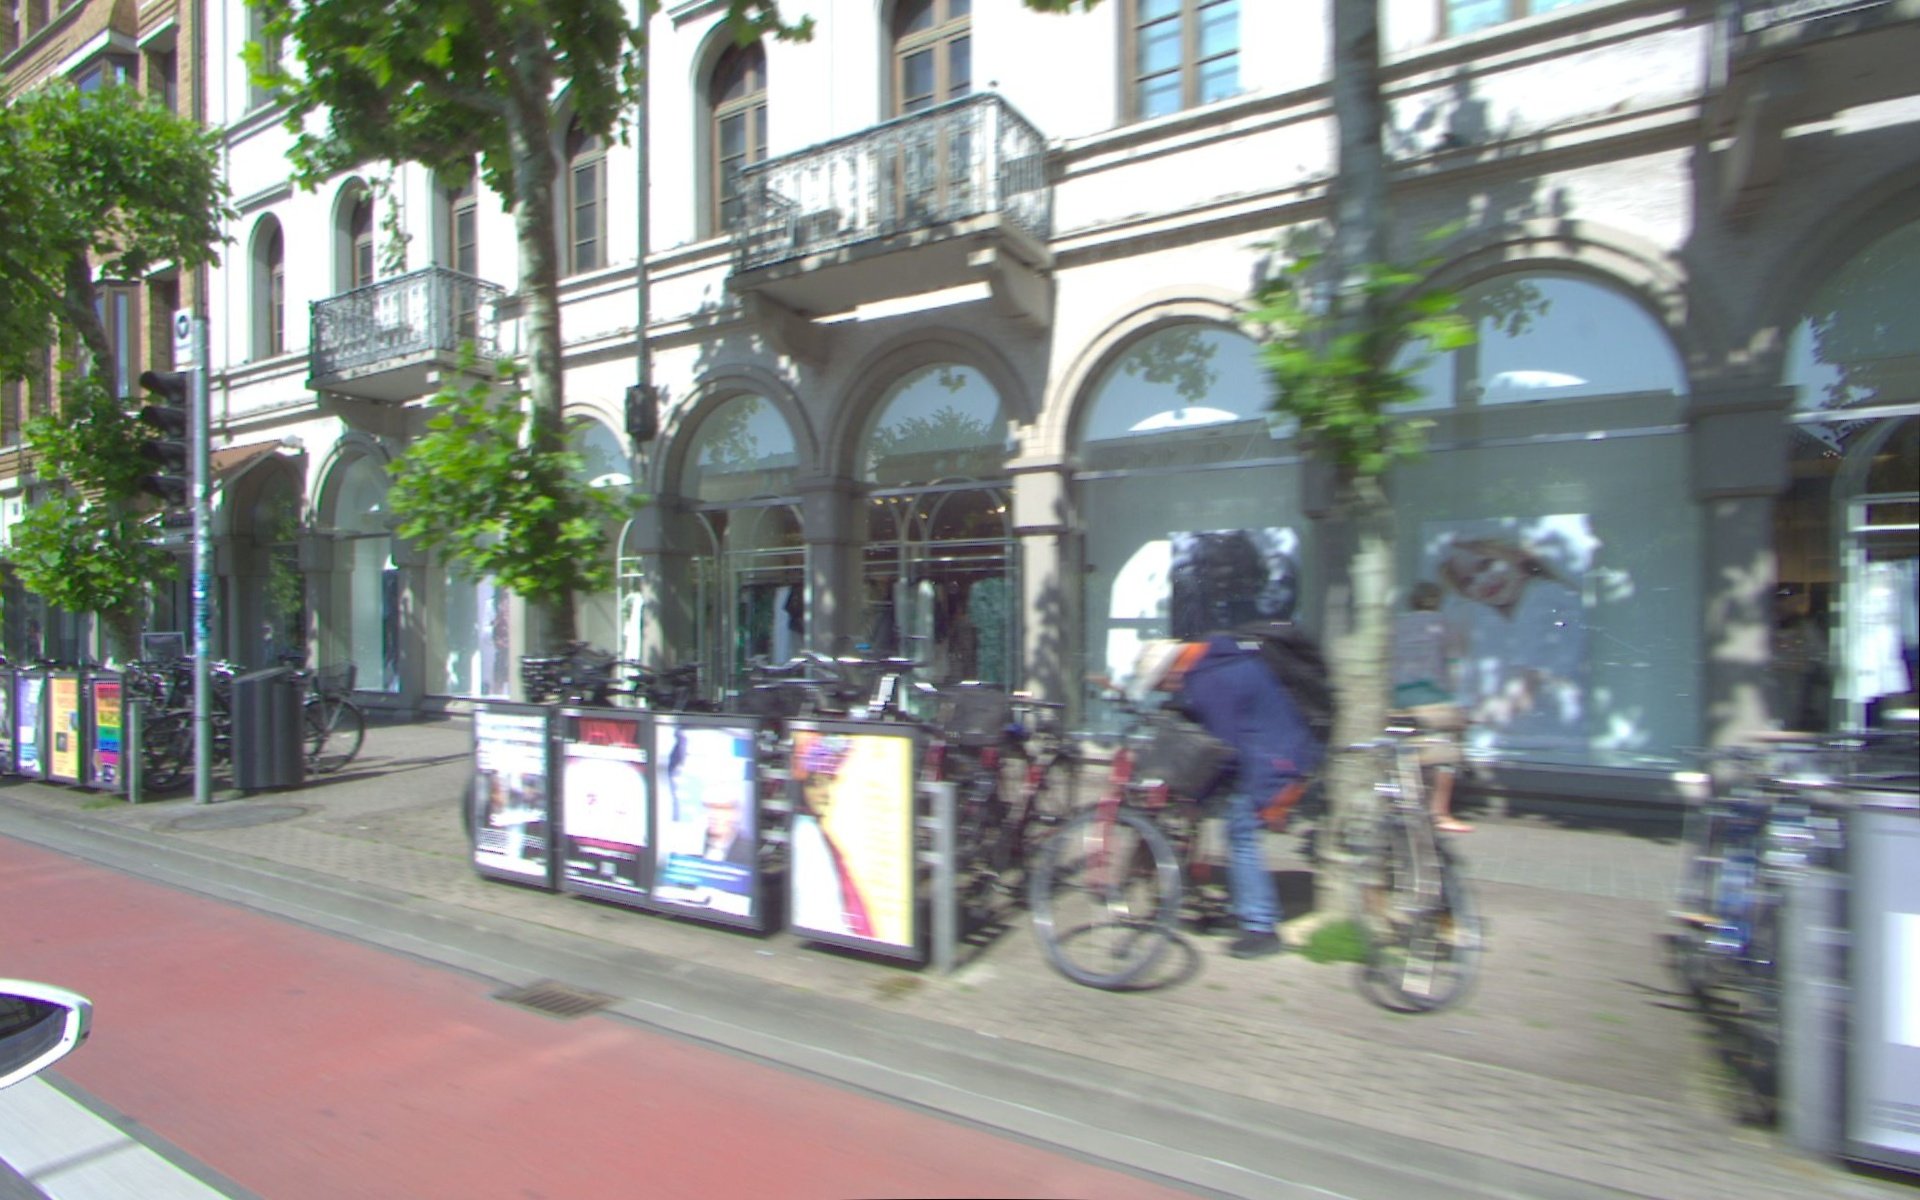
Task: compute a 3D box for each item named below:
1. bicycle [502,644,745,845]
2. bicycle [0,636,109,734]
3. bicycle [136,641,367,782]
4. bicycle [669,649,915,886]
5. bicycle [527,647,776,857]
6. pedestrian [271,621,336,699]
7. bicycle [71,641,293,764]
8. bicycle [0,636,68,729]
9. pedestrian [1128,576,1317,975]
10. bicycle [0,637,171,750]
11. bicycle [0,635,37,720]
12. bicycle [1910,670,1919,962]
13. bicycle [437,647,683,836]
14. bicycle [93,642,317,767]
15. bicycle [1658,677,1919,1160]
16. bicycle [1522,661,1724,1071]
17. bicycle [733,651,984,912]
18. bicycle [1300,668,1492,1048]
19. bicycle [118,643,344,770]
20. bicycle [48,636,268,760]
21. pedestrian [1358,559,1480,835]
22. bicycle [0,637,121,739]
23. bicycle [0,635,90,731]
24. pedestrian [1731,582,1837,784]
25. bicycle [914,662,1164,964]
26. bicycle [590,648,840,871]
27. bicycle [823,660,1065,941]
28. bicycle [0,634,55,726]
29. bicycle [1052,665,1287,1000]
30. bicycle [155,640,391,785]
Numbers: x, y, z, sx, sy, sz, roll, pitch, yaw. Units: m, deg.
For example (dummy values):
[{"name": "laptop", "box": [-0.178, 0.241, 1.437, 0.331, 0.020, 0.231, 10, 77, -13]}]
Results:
[{"name": "bicycle", "box": [-2.309, 0.936, 7.112, 0.475, 1.209, 1.798, 0, -1, 29]}, {"name": "bicycle", "box": [-11.581, 1.027, 12.229, 0.519, 1.162, 1.751, 0, -1, 29]}, {"name": "bicycle", "box": [-6.595, 0.988, 9.429, 0.475, 1.162, 1.751, 0, -1, 29]}, {"name": "bicycle", "box": [-0.926, 0.901, 6.004, 0.475, 1.162, 1.751, 0, -1, 29]}, {"name": "bicycle", "box": [-1.966, 0.916, 6.644, 0.475, 1.162, 1.751, 0, -1, 29]}, {"name": "pedestrian", "box": [-10.961, 1.002, 16.734, 0.715, 1.268, 0.591, 1, -2, -15]}, {"name": "bicycle", "box": [-7.880, 0.991, 10.230, 0.475, 1.119, 1.751, 0, -1, 29]}, {"name": "bicycle", "box": [-12.522, 1.055, 12.696, 0.475, 1.162, 1.751, 0, -1, 29]}, {"name": "pedestrian", "box": [1.153, 0.702, 4.351, 0.657, 1.557, 0.604, 0, -2, 30]}, {"name": "bicycle", "box": [-9.954, 1.004, 11.187, 0.475, 1.162, 1.751, 0, -1, 29]}, {"name": "bicycle", "box": [-13.468, 1.047, 13.281, 0.475, 1.138, 1.751, 0, -1, 29]}, {"name": "bicycle", "box": [3.725, 0.849, 3.189, 0.583, 1.162, 1.751, 0, -1, 29]}, {"name": "bicycle", "box": [-2.838, 0.948, 7.307, 0.475, 1.162, 1.772, 0, -1, 29]}, {"name": "bicycle", "box": [-7.454, 0.986, 9.986, 0.475, 1.101, 1.751, 0, -1, 29]}, {"name": "bicycle", "box": [2.846, 0.892, 3.410, 0.583, 1.162, 1.751, 0, -1, 29]}, {"name": "bicycle", "box": [2.478, 0.851, 3.876, 0.511, 1.162, 1.701, 0, -1, 29]}, {"name": "bicycle", "box": [-0.479, 0.888, 5.532, 0.475, 1.162, 1.751, 0, -1, 29]}, {"name": "bicycle", "box": [1.891, 0.911, 4.204, 0.583, 1.162, 1.751, 0, -1, 29]}, {"name": "bicycle", "box": [-7.018, 0.982, 9.742, 0.475, 1.082, 1.751, 0, -1, 29]}, {"name": "bicycle", "box": [-8.315, 0.968, 10.476, 0.475, 1.162, 1.751, 0, -1, 29]}, {"name": "pedestrian", "box": [3.082, 0.621, 6.710, 0.666, 1.717, 0.655, 0, -2, 32]}, {"name": "bicycle", "box": [-11.157, 1.034, 11.920, 0.475, 1.162, 1.751, 0, -1, 29]}, {"name": "bicycle", "box": [-12.029, 1.031, 12.475, 0.475, 1.162, 1.751, 0, -1, 29]}, {"name": "pedestrian", "box": [6.622, 0.651, 8.068, 0.530, 1.553, 0.503, 0, -2, 24]}, {"name": "bicycle", "box": [0.472, 0.926, 5.009, 0.583, 1.162, 1.751, 0, -1, 29]}, {"name": "bicycle", "box": [-1.464, 0.909, 6.317, 0.475, 1.162, 1.751, 0, -1, 29]}, {"name": "bicycle", "box": [-0.007, 0.932, 5.276, 0.475, 1.162, 1.751, 0, -1, 29]}, {"name": "bicycle", "box": [-12.985, 1.048, 13.023, 0.475, 1.202, 1.751, 0, -1, 29]}, {"name": "bicycle", "box": [1.041, 0.919, 4.622, 0.583, 1.162, 1.751, 0, -1, 29]}, {"name": "bicycle", "box": [-6.193, 0.967, 9.140, 0.475, 1.162, 1.751, 0, -1, 29]}]
